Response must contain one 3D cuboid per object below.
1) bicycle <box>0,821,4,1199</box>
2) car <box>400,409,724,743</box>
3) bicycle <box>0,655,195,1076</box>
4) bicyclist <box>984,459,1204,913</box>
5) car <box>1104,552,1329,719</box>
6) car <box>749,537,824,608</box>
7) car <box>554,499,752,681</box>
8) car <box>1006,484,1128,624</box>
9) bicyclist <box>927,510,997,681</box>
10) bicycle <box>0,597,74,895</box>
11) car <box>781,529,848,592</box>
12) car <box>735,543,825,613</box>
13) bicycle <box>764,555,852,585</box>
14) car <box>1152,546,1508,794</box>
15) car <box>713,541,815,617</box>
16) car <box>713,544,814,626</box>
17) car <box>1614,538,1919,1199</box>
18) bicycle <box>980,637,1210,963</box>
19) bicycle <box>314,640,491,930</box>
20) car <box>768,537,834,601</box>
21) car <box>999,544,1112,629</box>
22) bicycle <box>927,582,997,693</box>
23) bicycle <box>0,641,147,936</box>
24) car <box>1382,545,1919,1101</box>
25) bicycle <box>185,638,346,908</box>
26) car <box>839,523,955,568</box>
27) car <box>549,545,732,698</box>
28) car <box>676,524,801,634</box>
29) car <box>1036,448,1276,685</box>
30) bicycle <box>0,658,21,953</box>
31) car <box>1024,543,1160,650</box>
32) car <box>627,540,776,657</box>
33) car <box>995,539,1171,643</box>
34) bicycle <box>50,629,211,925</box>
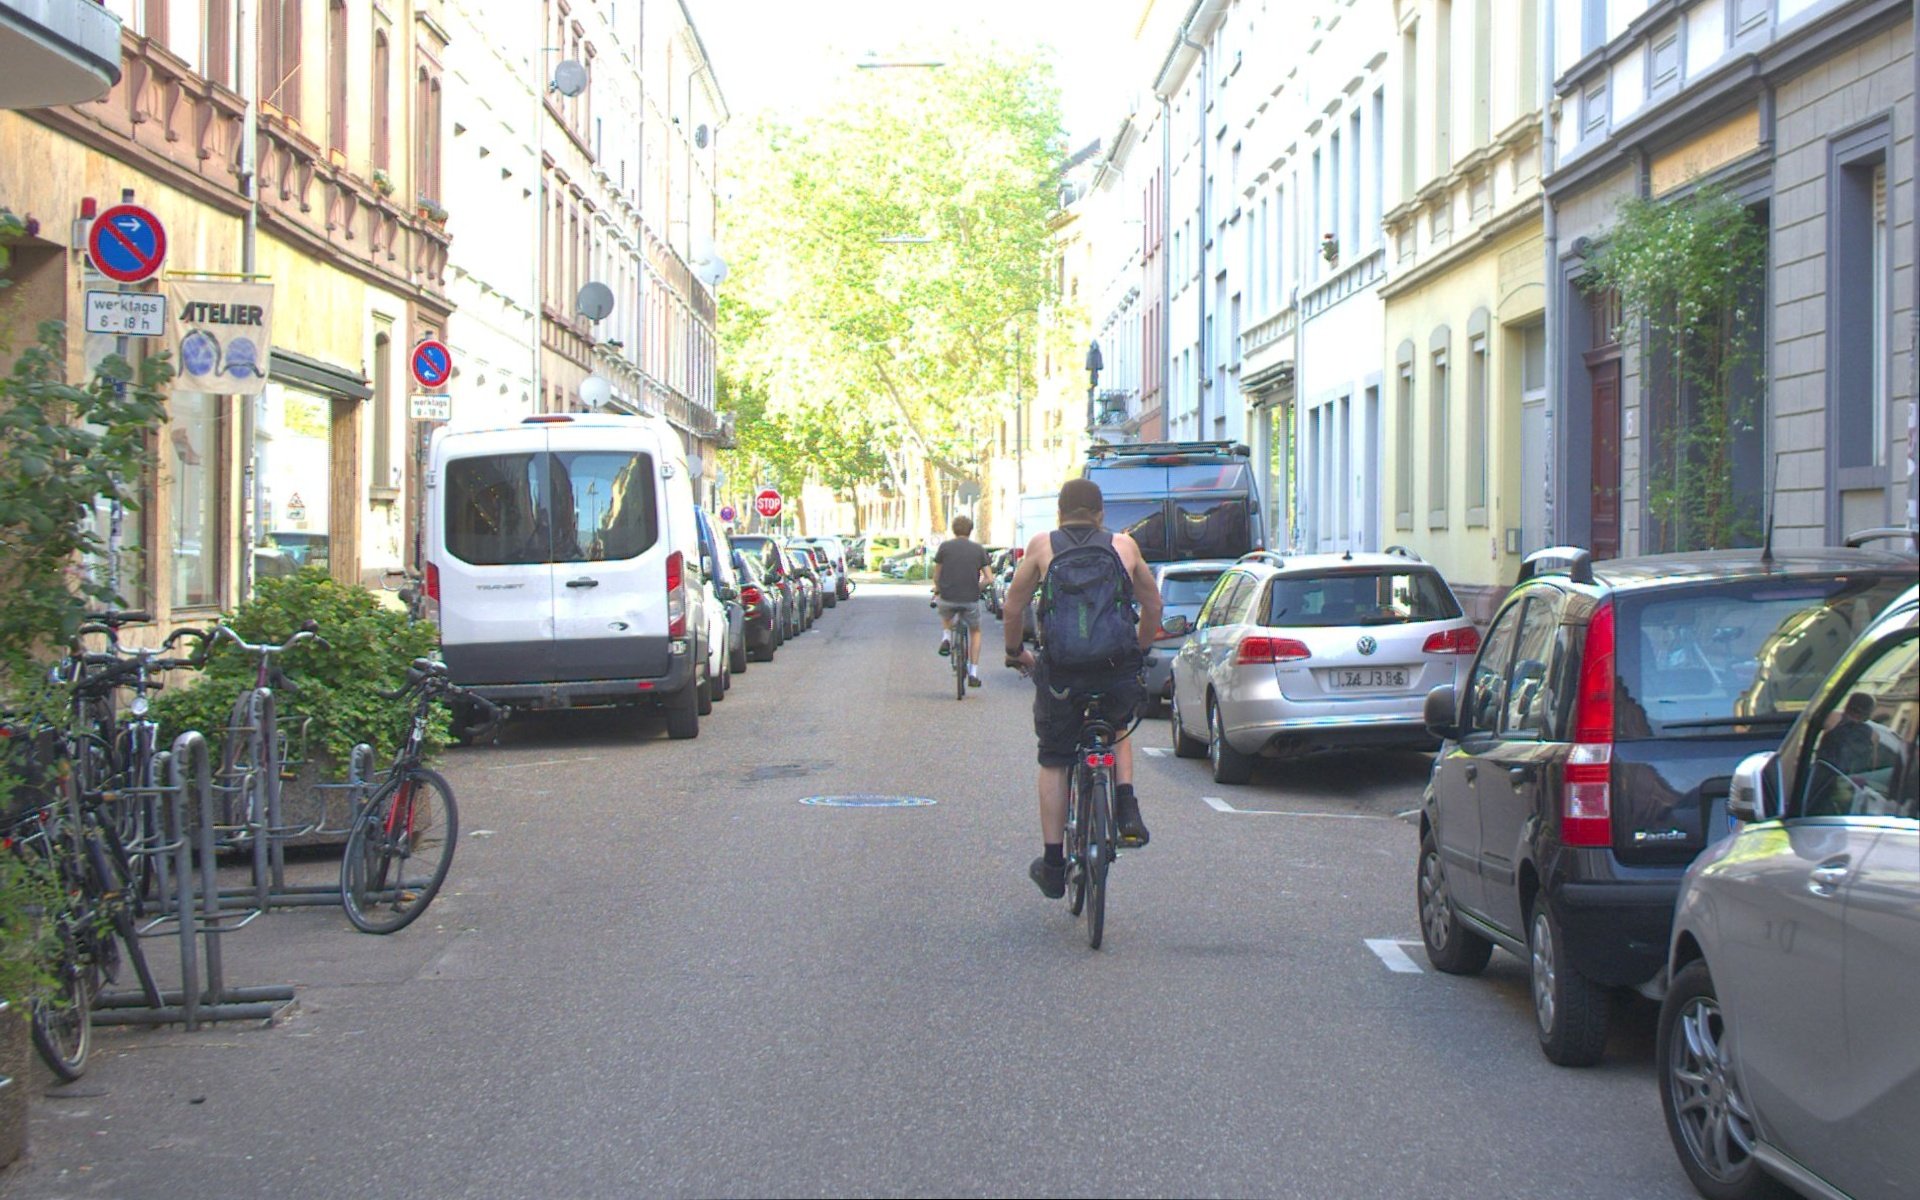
[{"bbox_3d":[-2.302,0.955,6.885,0.390,0.913,1.393,0,1,0],"label":"bicycle"},{"bbox_3d":[-3.161,-0.236,28.554,2.168,2.443,5.922,-1,1,-2],"label":"car"},{"bbox_3d":[-2.766,0.756,10.509,0.546,1.090,1.882,2,1,-5],"label":"bicycle"},{"bbox_3d":[0.505,0.313,13.419,0.740,1.673,1.117,2,1,-1],"label":"bicyclist"},{"bbox_3d":[2.358,0.283,32.522,1.747,1.439,4.172,1,1,-1],"label":"car"},{"bbox_3d":[-3.870,-0.627,76.895,1.604,1.525,3.379,-1,1,-2],"label":"car"},{"bbox_3d":[-3.432,-0.154,39.207,1.827,1.885,4.614,-2,1,-1],"label":"car"},{"bbox_3d":[2.004,-0.895,65.340,2.204,2.542,6.036,0,1,1],"label":"car"},{"bbox_3d":[0.016,-0.054,33.700,0.669,1.653,0.877,0,1,-1],"label":"bicyclist"},{"bbox_3d":[-4.093,0.590,14.646,0.339,1.170,1.490,2,1,-5],"label":"bicycle"},{"bbox_3d":[-4.067,-1.136,96.468,1.787,1.731,3.876,0,1,-1],"label":"car"},{"bbox_3d":[-3.742,-0.482,71.937,1.706,1.409,4.302,0,1,-1],"label":"car"},{"bbox_3d":[-4.686,-0.927,105.936,2.715,0.889,0.619,0,1,-3],"label":"bicycle"},{"bbox_3d":[2.427,0.400,23.624,1.786,1.449,4.547,-2,1,-1],"label":"car"},{"bbox_3d":[-3.785,-0.434,66.877,1.674,1.425,3.888,0,1,1],"label":"car"},{"bbox_3d":[-3.515,-0.291,61.903,1.592,1.435,3.654,0,1,0],"label":"car"},{"bbox_3d":[2.553,0.663,6.748,1.746,1.550,4.171,0,1,0],"label":"car"},{"bbox_3d":[0.493,0.732,13.432,0.740,1.097,2.042,2,1,-1],"label":"bicycle"},{"bbox_3d":[-2.298,0.722,14.044,0.460,1.044,1.751,2,1,-17],"label":"bicycle"},{"bbox_3d":[-3.903,-0.778,84.269,1.544,1.545,3.466,0,1,-4],"label":"car"},{"bbox_3d":[1.632,-0.260,59.904,1.725,1.424,3.833,0,1,-2],"label":"car"},{"bbox_3d":[0.010,0.349,33.802,0.664,1.034,1.959,0,1,-1],"label":"bicycle"},{"bbox_3d":[-3.511,0.711,13.433,0.417,1.044,1.319,2,1,-4],"label":"bicycle"},{"bbox_3d":[2.451,0.611,11.563,1.602,1.534,3.450,-2,1,0],"label":"car"},{"bbox_3d":[-3.030,0.725,15.104,0.442,1.044,1.865,2,1,-5],"label":"bicycle"},{"bbox_3d":[-2.508,-2.167,135.925,4.468,1.753,1.867,0,1,-5],"label":"car"},{"bbox_3d":[-3.163,0.173,34.617,1.645,1.442,3.840,0,1,-2],"label":"car"},{"bbox_3d":[-3.635,-0.365,56.921,1.801,1.692,4.000,-2,1,-1],"label":"car"},{"bbox_3d":[2.105,-0.406,38.817,2.175,2.417,6.310,-1,1,-1],"label":"car"},{"bbox_3d":[-3.669,0.743,11.847,0.573,1.042,1.410,1,1,-5],"label":"bicycle"},{"bbox_3d":[1.886,-0.082,50.070,1.746,1.480,4.243,0,1,-1],"label":"car"},{"bbox_3d":[-3.399,-0.060,45.903,1.861,1.435,4.646,0,2,-3],"label":"car"},{"bbox_3d":[1.903,-0.184,54.854,1.811,1.473,4.610,-3,2,-10],"label":"car"},{"bbox_3d":[-3.617,0.741,15.071,0.399,1.169,1.670,2,1,-5],"label":"bicycle"}]
